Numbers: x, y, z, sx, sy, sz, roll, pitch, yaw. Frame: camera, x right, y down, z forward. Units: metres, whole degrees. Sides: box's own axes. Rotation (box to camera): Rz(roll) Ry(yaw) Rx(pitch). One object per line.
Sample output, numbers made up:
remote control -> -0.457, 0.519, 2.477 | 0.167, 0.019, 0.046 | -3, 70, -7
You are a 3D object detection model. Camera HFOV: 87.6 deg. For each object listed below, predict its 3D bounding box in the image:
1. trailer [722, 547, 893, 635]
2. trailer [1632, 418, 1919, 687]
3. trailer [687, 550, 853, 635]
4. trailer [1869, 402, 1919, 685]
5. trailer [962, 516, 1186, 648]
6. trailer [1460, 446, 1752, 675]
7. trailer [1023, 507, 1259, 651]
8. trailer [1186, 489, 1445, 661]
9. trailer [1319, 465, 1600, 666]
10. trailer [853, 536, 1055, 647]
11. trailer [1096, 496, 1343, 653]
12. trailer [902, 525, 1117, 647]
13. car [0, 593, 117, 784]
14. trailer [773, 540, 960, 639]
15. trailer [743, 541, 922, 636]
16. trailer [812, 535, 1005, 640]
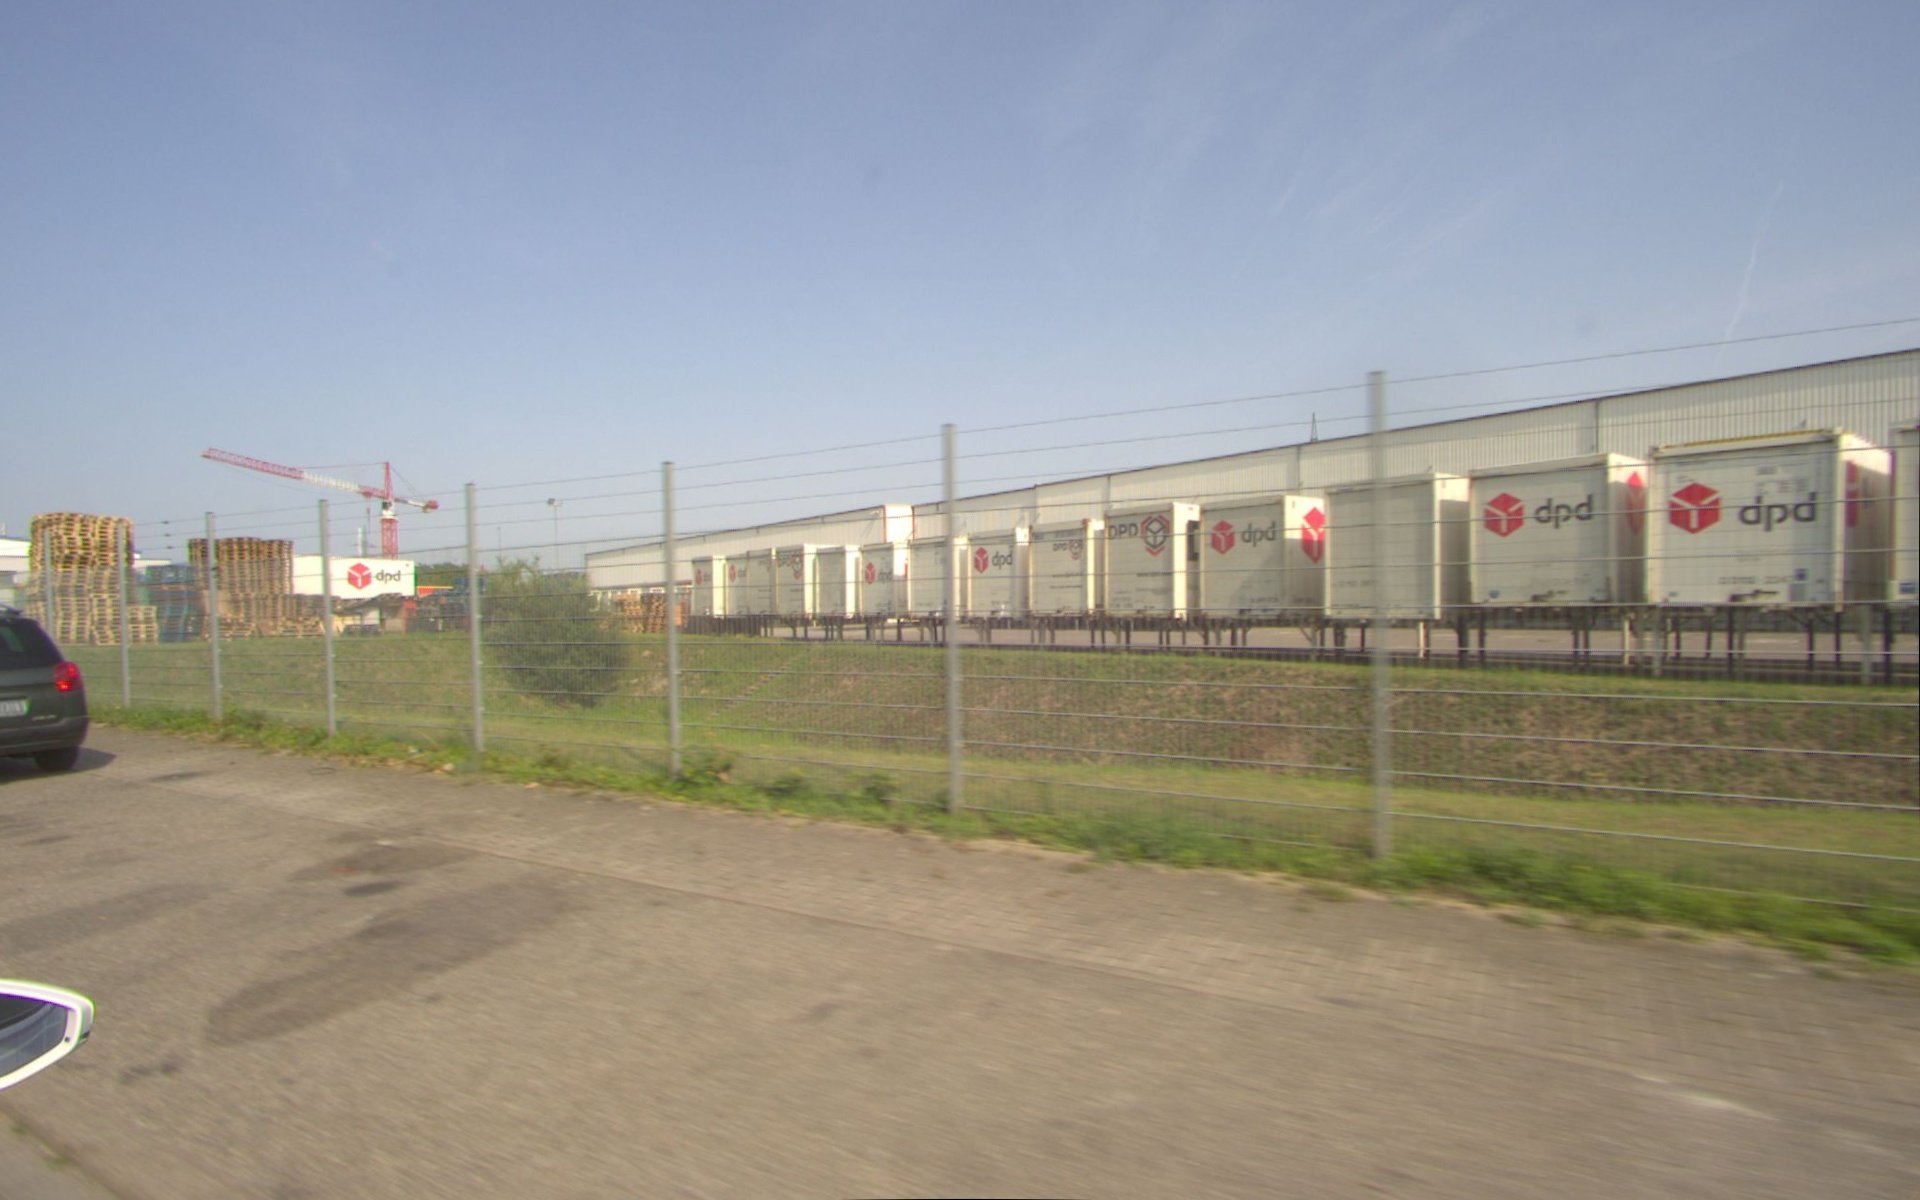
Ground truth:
trailer -> -7.275, -0.317, 48.622 | 7.901, 3.944, 2.719 | 2, 0, -40
trailer -> 15.476, -0.585, 18.519 | 8.470, 3.944, 2.752 | 2, 0, -40
trailer -> -9.515, -0.283, 50.747 | 7.901, 3.944, 2.719 | 2, 0, -40
trailer -> 17.201, -0.666, 16.021 | 8.470, 3.944, 2.752 | 2, 0, -40
trailer -> 3.987, -0.439, 33.649 | 7.901, 3.944, 2.752 | 2, 0, -40
trailer -> 13.748, -0.566, 20.956 | 8.243, 3.944, 2.752 | 2, 0, -40
trailer -> 5.801, -0.468, 31.146 | 7.901, 3.944, 2.752 | 2, 0, -40
trailer -> 9.636, -0.459, 26.595 | 7.971, 3.944, 2.752 | 2, 0, -40
trailer -> 11.859, -0.563, 23.335 | 8.243, 3.944, 2.752 | 2, 0, -40
trailer -> -0.080, -0.188, 39.148 | 7.901, 3.944, 2.752 | 2, 0, -40
trailer -> 7.643, -0.533, 28.782 | 7.901, 3.944, 2.752 | 2, 0, -40
trailer -> 1.939, -0.354, 35.995 | 7.901, 3.944, 2.752 | 2, 0, -40
car -> -9.573, 0.754, 9.032 | 3.944, 1.536, 1.712 | -1, 2, 30
trailer -> -3.942, -0.342, 43.743 | 7.901, 3.944, 2.752 | 2, 0, -40
trailer -> -5.710, -0.406, 45.976 | 7.901, 3.944, 2.752 | 2, 0, -40
trailer -> -2.016, -0.374, 41.612 | 7.901, 3.944, 2.752 | 2, 0, -40
